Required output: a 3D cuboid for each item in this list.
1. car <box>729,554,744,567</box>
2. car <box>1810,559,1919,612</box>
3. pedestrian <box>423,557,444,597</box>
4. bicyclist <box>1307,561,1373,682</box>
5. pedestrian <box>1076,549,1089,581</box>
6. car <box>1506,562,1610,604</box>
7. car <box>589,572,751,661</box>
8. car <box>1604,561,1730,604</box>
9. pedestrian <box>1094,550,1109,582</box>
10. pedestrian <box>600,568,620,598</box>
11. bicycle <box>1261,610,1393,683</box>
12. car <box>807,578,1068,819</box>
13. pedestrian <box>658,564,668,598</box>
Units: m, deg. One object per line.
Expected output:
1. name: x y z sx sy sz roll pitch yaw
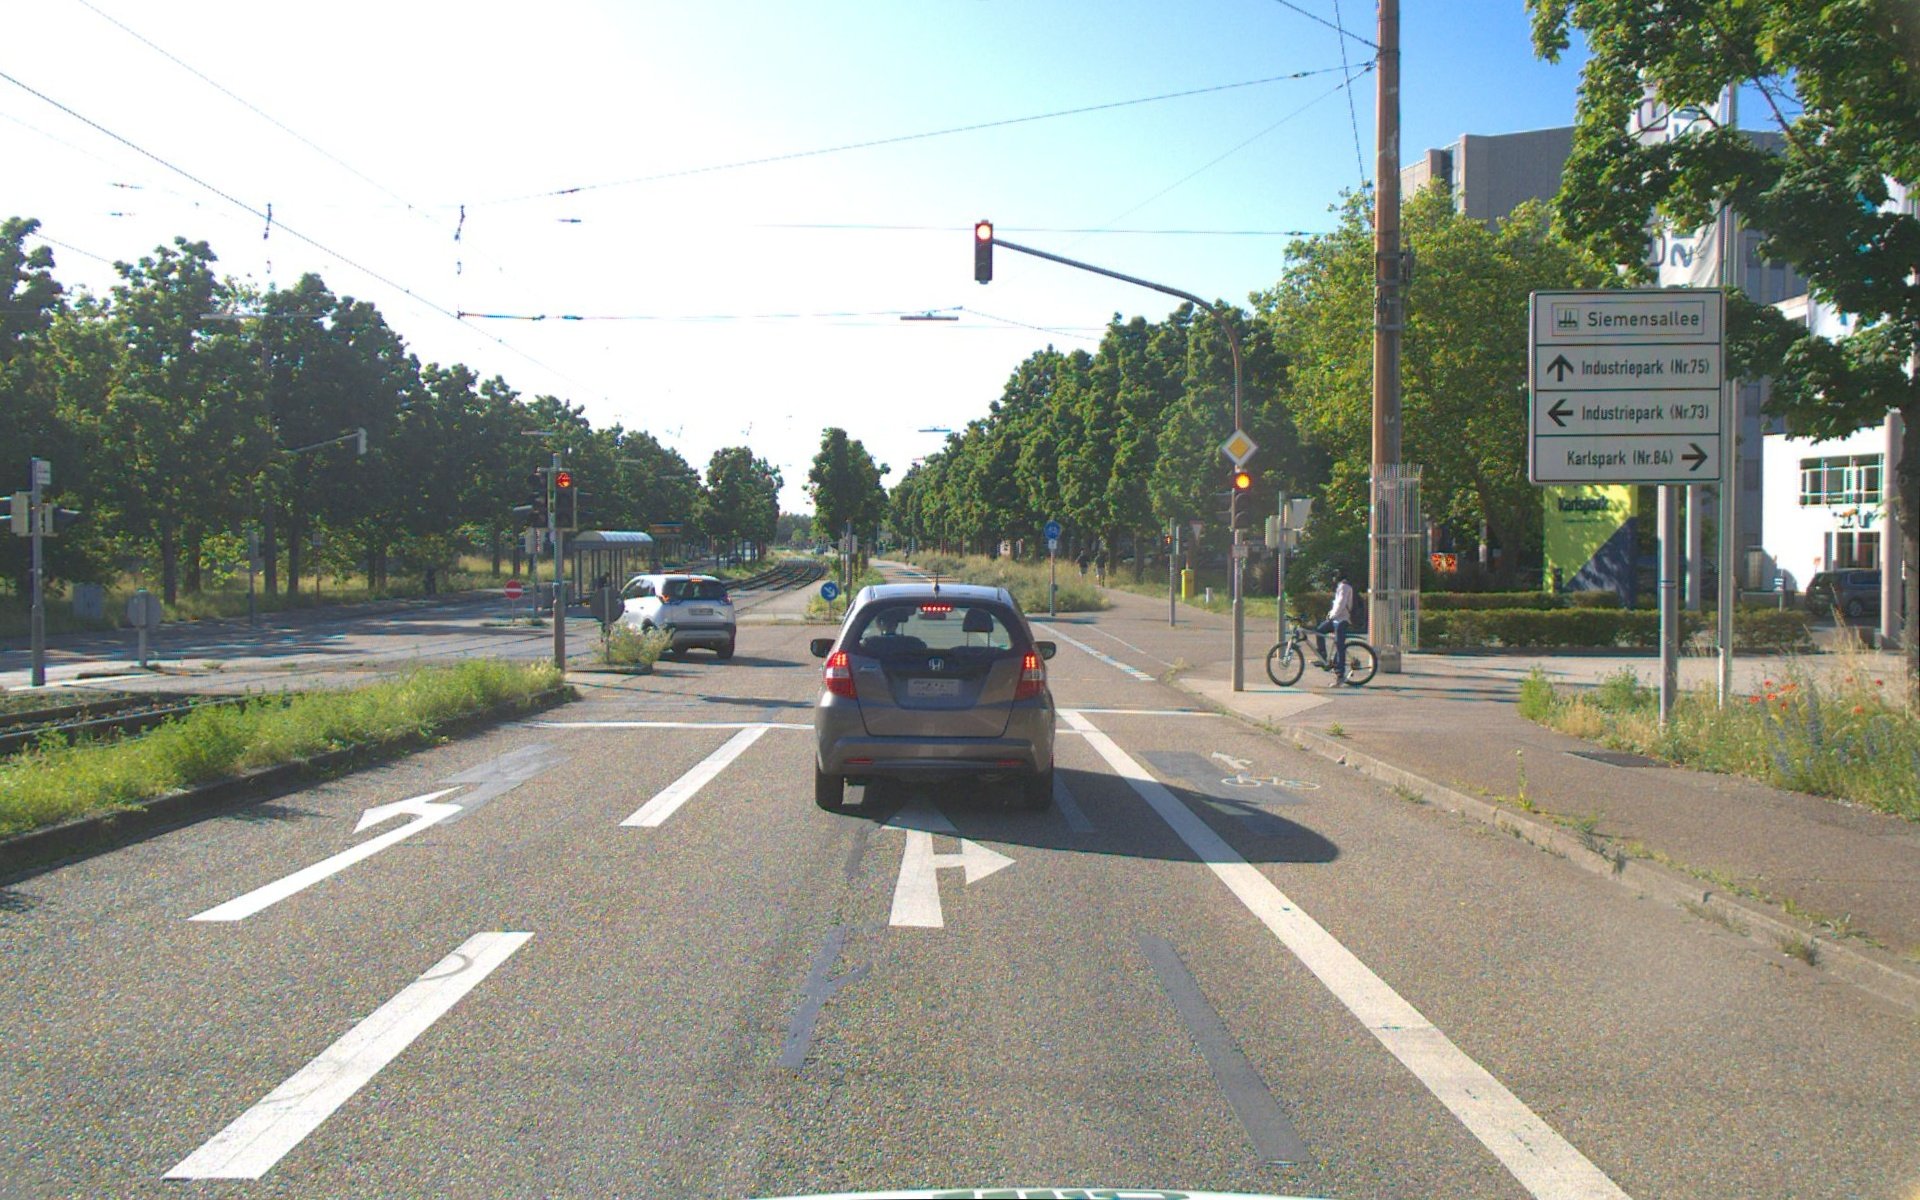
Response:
1. car: -30.999 -5.511 229.281 1.731 1.768 3.998 0 0 -3
2. car: 31.127 -0.503 55.937 3.914 1.750 1.895 0 1 -10
3. pedestrian: -27.137 -1.188 85.229 0.823 2.049 0.863 0 1 -2
4. bicyclist: 5.714 0.319 24.931 0.890 1.775 0.765 -1 0 10
5. pedestrian: 6.399 -1.821 86.352 0.556 1.624 0.665 1 0 -4
6. car: 26.388 -0.753 73.052 3.918 1.788 1.993 0 1 -14
7. car: -5.830 0.279 32.891 1.832 1.634 4.210 0 1 -31
8. car: 28.241 -0.699 66.100 4.458 1.658 1.870 0 0 -13
9. pedestrian: 7.376 -1.756 86.404 0.664 1.638 0.720 1 0 -3
10. pedestrian: -14.990 -0.738 70.936 0.706 1.267 0.710 -1 1 -3
11. bicycle: 5.518 0.700 24.969 1.879 1.015 0.765 -2 0 10
12. car: -0.144 0.615 12.676 1.672 1.535 4.000 1 1 0
13. pedestrian: -15.384 -0.984 85.541 0.493 1.705 0.387 0 1 -12
